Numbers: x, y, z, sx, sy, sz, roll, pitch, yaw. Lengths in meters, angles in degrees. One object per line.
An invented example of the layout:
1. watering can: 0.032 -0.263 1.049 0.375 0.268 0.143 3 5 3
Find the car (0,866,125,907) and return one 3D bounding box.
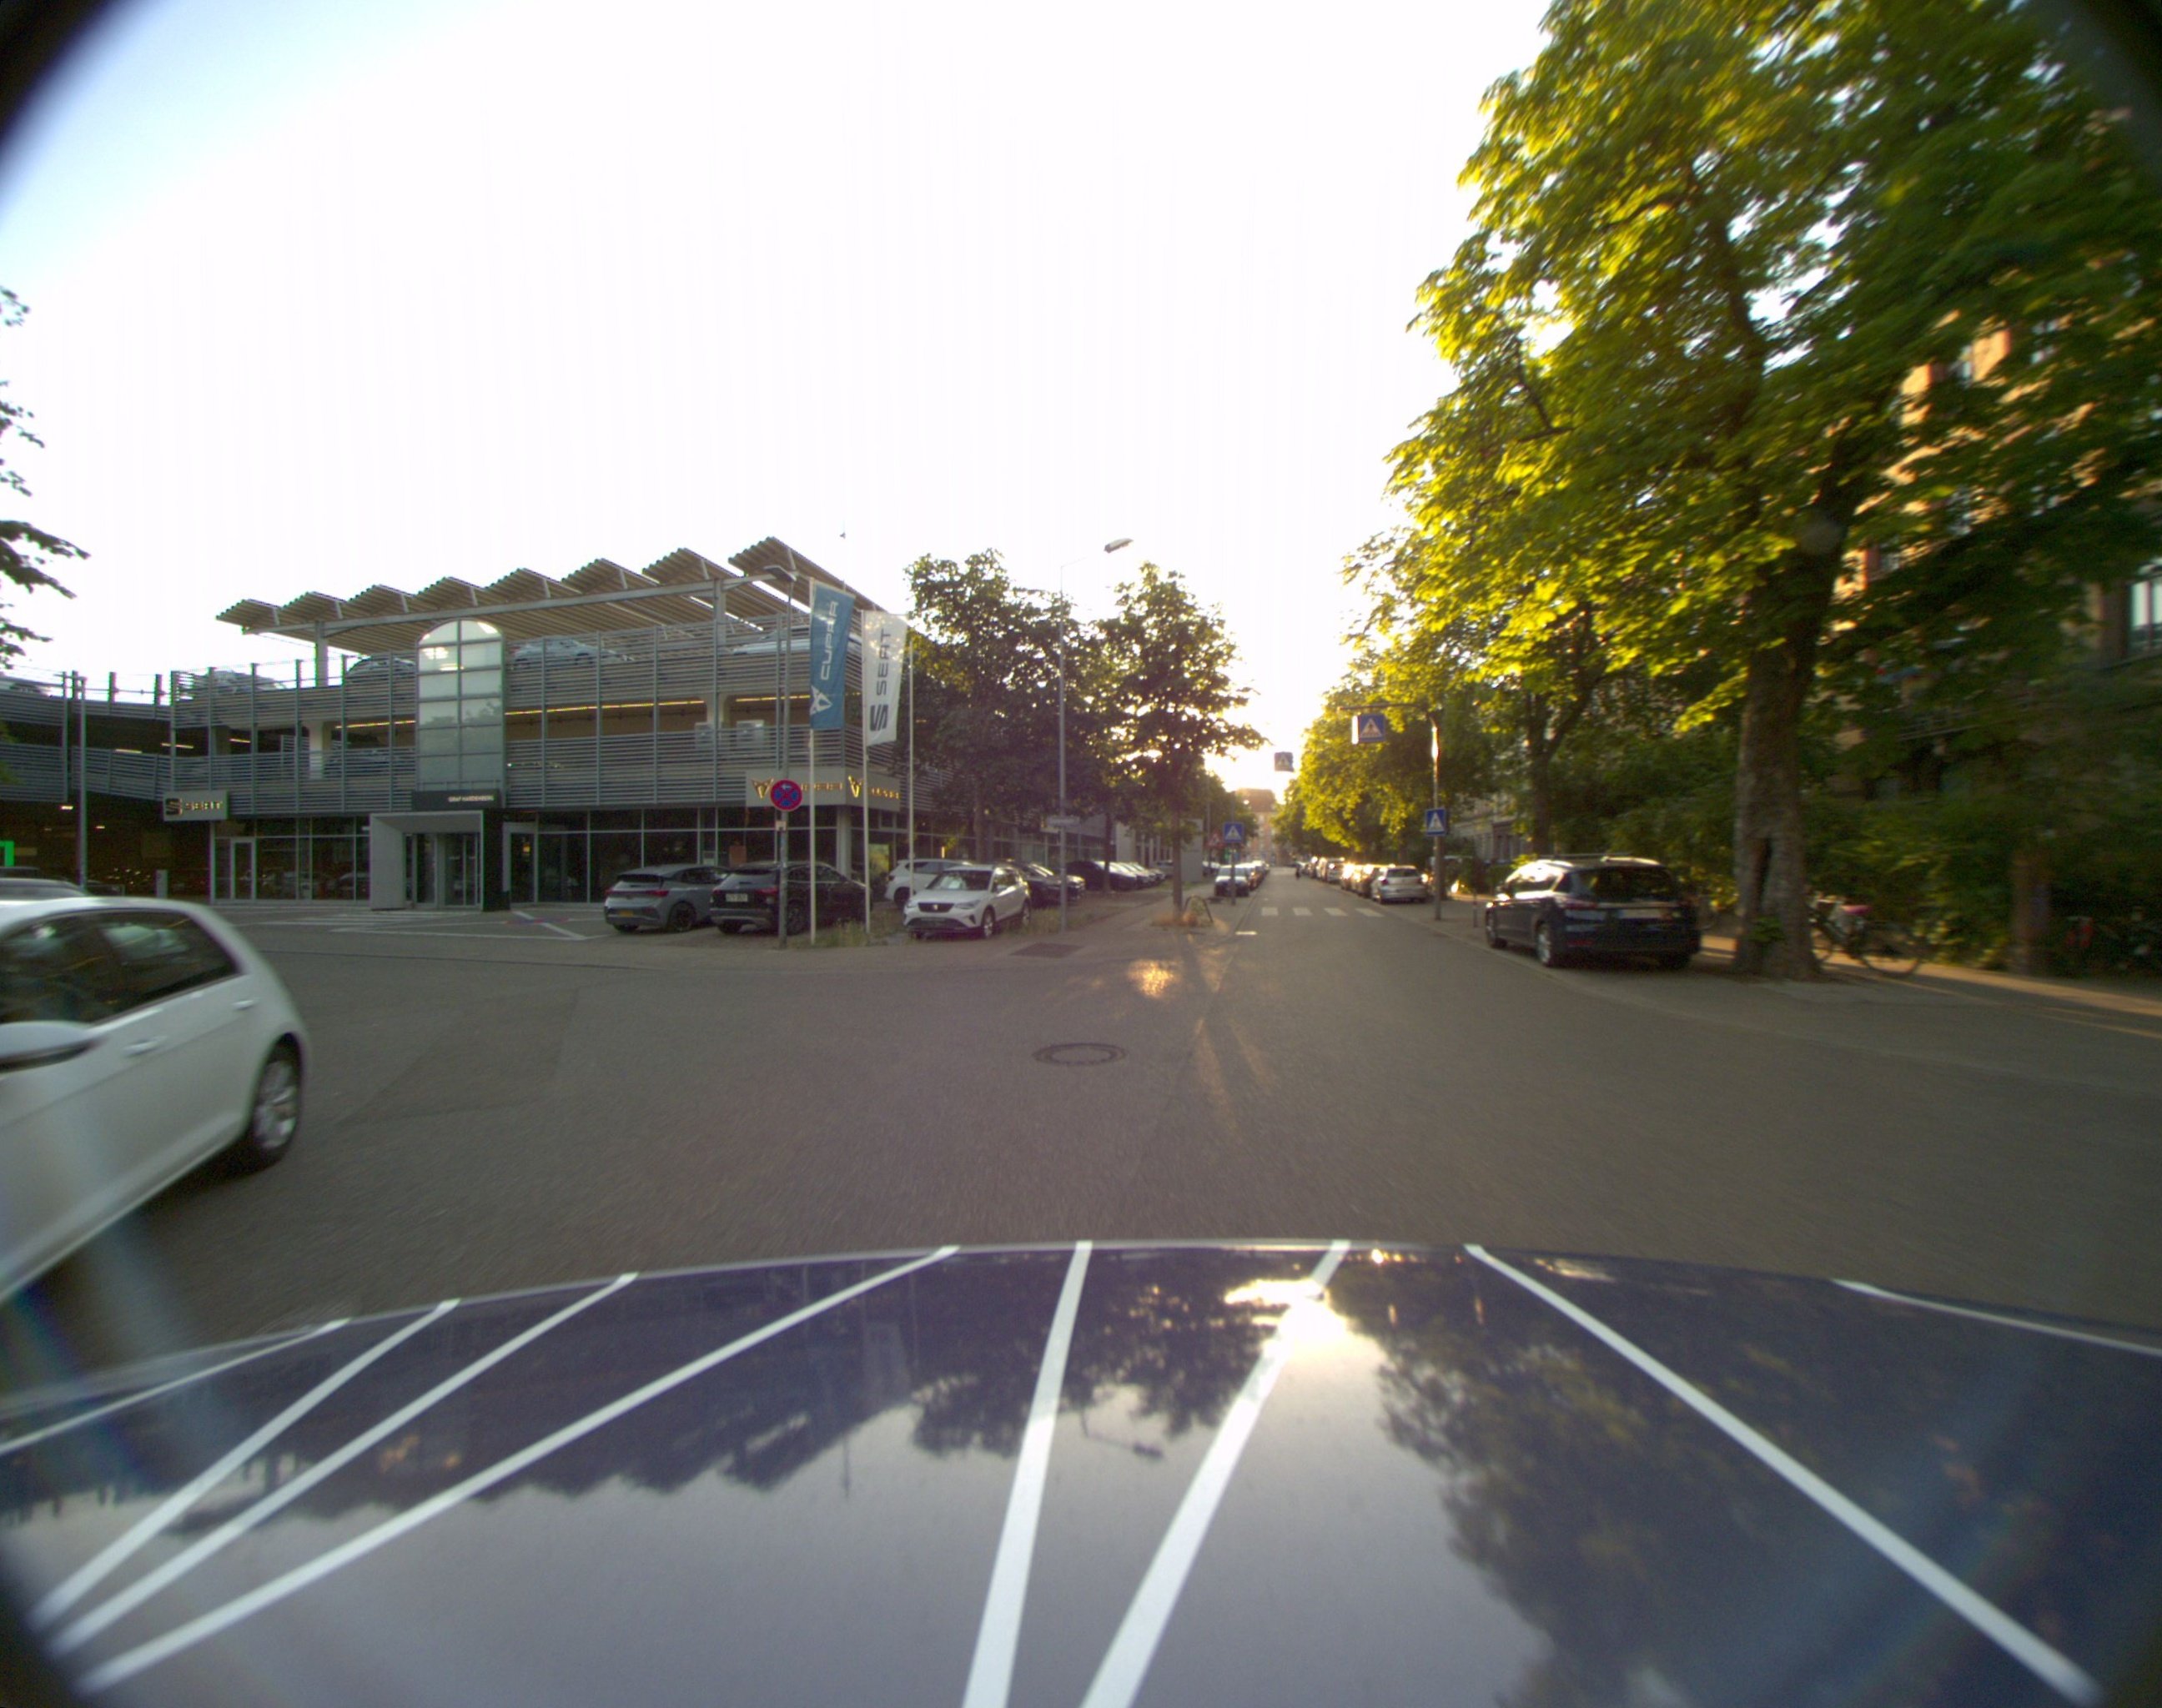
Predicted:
1. car: -41.099 1.266 29.931 1.629 1.558 3.933 0 -1 18

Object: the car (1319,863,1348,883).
1. car: 19.118 1.437 57.751 1.615 1.433 4.109 -2 -1 12

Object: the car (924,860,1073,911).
1. car: -2.712 1.050 25.415 4.583 1.606 1.874 -1 -1 13

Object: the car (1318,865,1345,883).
1. car: 20.455 1.604 62.174 1.615 1.433 4.109 -2 -1 12

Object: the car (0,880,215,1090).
1. car: -10.022 1.042 6.714 3.935 1.536 1.635 0 1 17

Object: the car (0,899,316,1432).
1. car: -4.235 0.982 2.201 1.815 1.492 4.163 -1 -1 -30

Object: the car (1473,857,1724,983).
1. car: 8.141 0.930 12.546 1.869 1.677 4.597 -1 -1 13

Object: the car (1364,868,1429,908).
1. car: 12.433 1.300 30.173 1.615 1.433 3.758 -3 -1 11

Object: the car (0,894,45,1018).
1. car: -14.607 1.197 8.920 3.777 1.426 1.635 0 -1 15

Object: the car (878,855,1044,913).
1. car: -3.580 0.889 22.927 4.583 1.633 1.874 -1 -1 13

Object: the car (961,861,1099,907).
1. car: -1.815 1.074 27.378 4.583 1.562 1.874 -1 -1 13

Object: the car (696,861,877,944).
1. car: -6.614 1.019 17.622 1.715 1.596 4.132 -1 0 16

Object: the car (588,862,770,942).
1. car: -9.536 1.063 18.376 1.703 1.582 3.698 -1 2 18

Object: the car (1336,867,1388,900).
1. car: 12.941 1.325 35.241 1.615 1.433 4.315 -2 -1 12

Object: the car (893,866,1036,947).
1. car: -2.411 1.045 16.745 1.765 1.562 3.907 0 -1 13

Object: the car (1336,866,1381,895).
1. car: 14.646 1.376 40.243 1.615 1.433 4.315 -2 -1 12

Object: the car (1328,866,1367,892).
1. car: 15.710 1.469 44.986 1.615 1.433 4.109 -2 -1 12
